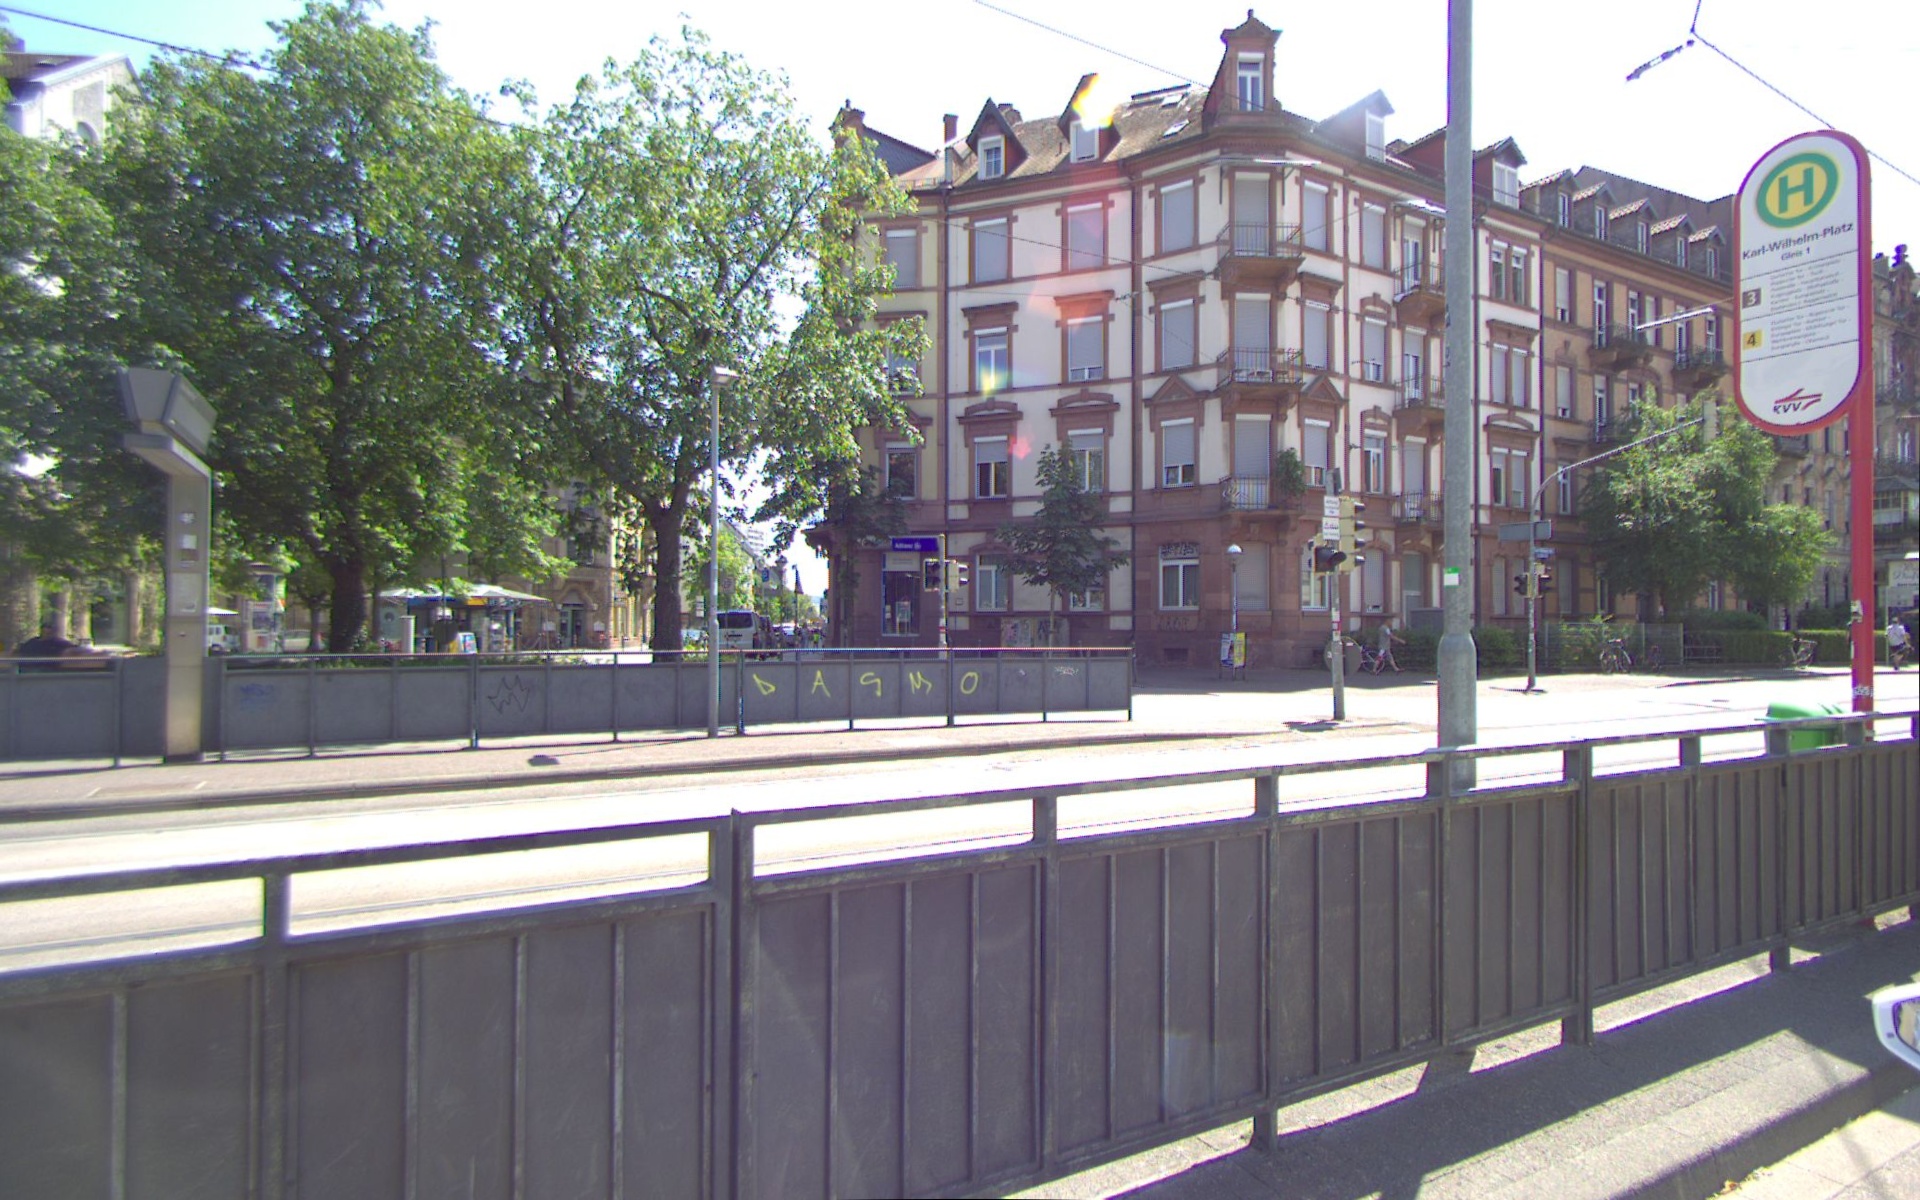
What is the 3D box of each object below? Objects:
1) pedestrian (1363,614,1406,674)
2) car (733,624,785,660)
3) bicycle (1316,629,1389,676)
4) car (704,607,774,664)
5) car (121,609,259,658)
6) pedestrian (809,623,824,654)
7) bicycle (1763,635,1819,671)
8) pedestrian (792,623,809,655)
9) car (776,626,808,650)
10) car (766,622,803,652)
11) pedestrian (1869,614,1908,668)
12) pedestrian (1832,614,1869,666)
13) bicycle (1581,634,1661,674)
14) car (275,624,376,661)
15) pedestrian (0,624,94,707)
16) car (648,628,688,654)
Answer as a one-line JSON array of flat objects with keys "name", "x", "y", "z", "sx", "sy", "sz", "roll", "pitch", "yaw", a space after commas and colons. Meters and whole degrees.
[{"name": "pedestrian", "x": 12.183, "y": 1.259, "z": 28.869, "sx": 1.041, "sy": 1.712, "sz": 0.723, "roll": 0, "pitch": -1, "yaw": 17}, {"name": "car", "x": -9.626, "y": 1.998, "z": 48.293, "sx": 1.893, "sy": 1.541, "sz": 3.998, "roll": 2, "pitch": 0, "yaw": -4}, {"name": "bicycle", "x": 11.664, "y": 1.552, "z": 29.866, "sx": 1.923, "sy": 1.312, "sz": 0.564, "roll": 2, "pitch": 0, "yaw": 11}, {"name": "car", "x": -8.329, "y": 1.288, "z": 38.221, "sx": 1.962, "sy": 1.970, "sz": 3.998, "roll": 2, "pitch": 0, "yaw": -4}, {"name": "car", "x": -31.190, "y": 1.352, "z": 40.820, "sx": 3.932, "sy": 1.814, "sz": 1.994, "roll": 2, "pitch": 0, "yaw": -14}, {"name": "pedestrian", "x": -7.611, "y": 2.054, "z": 53.183, "sx": 0.742, "sy": 1.632, "sz": 0.688, "roll": 0, "pitch": -1, "yaw": -4}, {"name": "bicycle", "x": 28.530, "y": 1.799, "z": 34.481, "sx": 2.750, "sy": 1.151, "sz": 0.930, "roll": 2, "pitch": 0, "yaw": -39}, {"name": "pedestrian", "x": -8.414, "y": 2.056, "z": 52.952, "sx": 0.790, "sy": 1.632, "sz": 0.731, "roll": 0, "pitch": -1, "yaw": -4}, {"name": "car", "x": -12.483, "y": 2.826, "z": 74.762, "sx": 1.962, "sy": 1.617, "sz": 3.998, "roll": 2, "pitch": 0, "yaw": -4}, {"name": "car", "x": -10.373, "y": 2.162, "z": 59.458, "sx": 1.684, "sy": 1.617, "sz": 3.998, "roll": 2, "pitch": 0, "yaw": -4}, {"name": "pedestrian", "x": 32.899, "y": 1.436, "z": 35.603, "sx": 0.864, "sy": 1.847, "sz": 0.811, "roll": 0, "pitch": 1, "yaw": -34}, {"name": "pedestrian", "x": 32.113, "y": 1.429, "z": 36.222, "sx": 0.864, "sy": 1.847, "sz": 0.811, "roll": 0, "pitch": 1, "yaw": -34}, {"name": "bicycle", "x": 20.227, "y": 1.641, "z": 30.719, "sx": 2.742, "sy": 1.151, "sz": 0.932, "roll": 2, "pitch": 0, "yaw": -31}, {"name": "car", "x": -32.076, "y": 2.142, "z": 50.896, "sx": 3.920, "sy": 1.730, "sz": 1.761, "roll": 2, "pitch": 0, "yaw": -14}, {"name": "pedestrian", "x": -14.661, "y": 1.036, "z": 16.110, "sx": 0.925, "sy": 1.261, "sz": 0.860, "roll": 2, "pitch": 0, "yaw": -24}, {"name": "car", "x": -20.659, "y": 2.898, "z": 71.168, "sx": 1.846, "sy": 1.617, "sz": 3.998, "roll": 2, "pitch": 0, "yaw": -4}]
